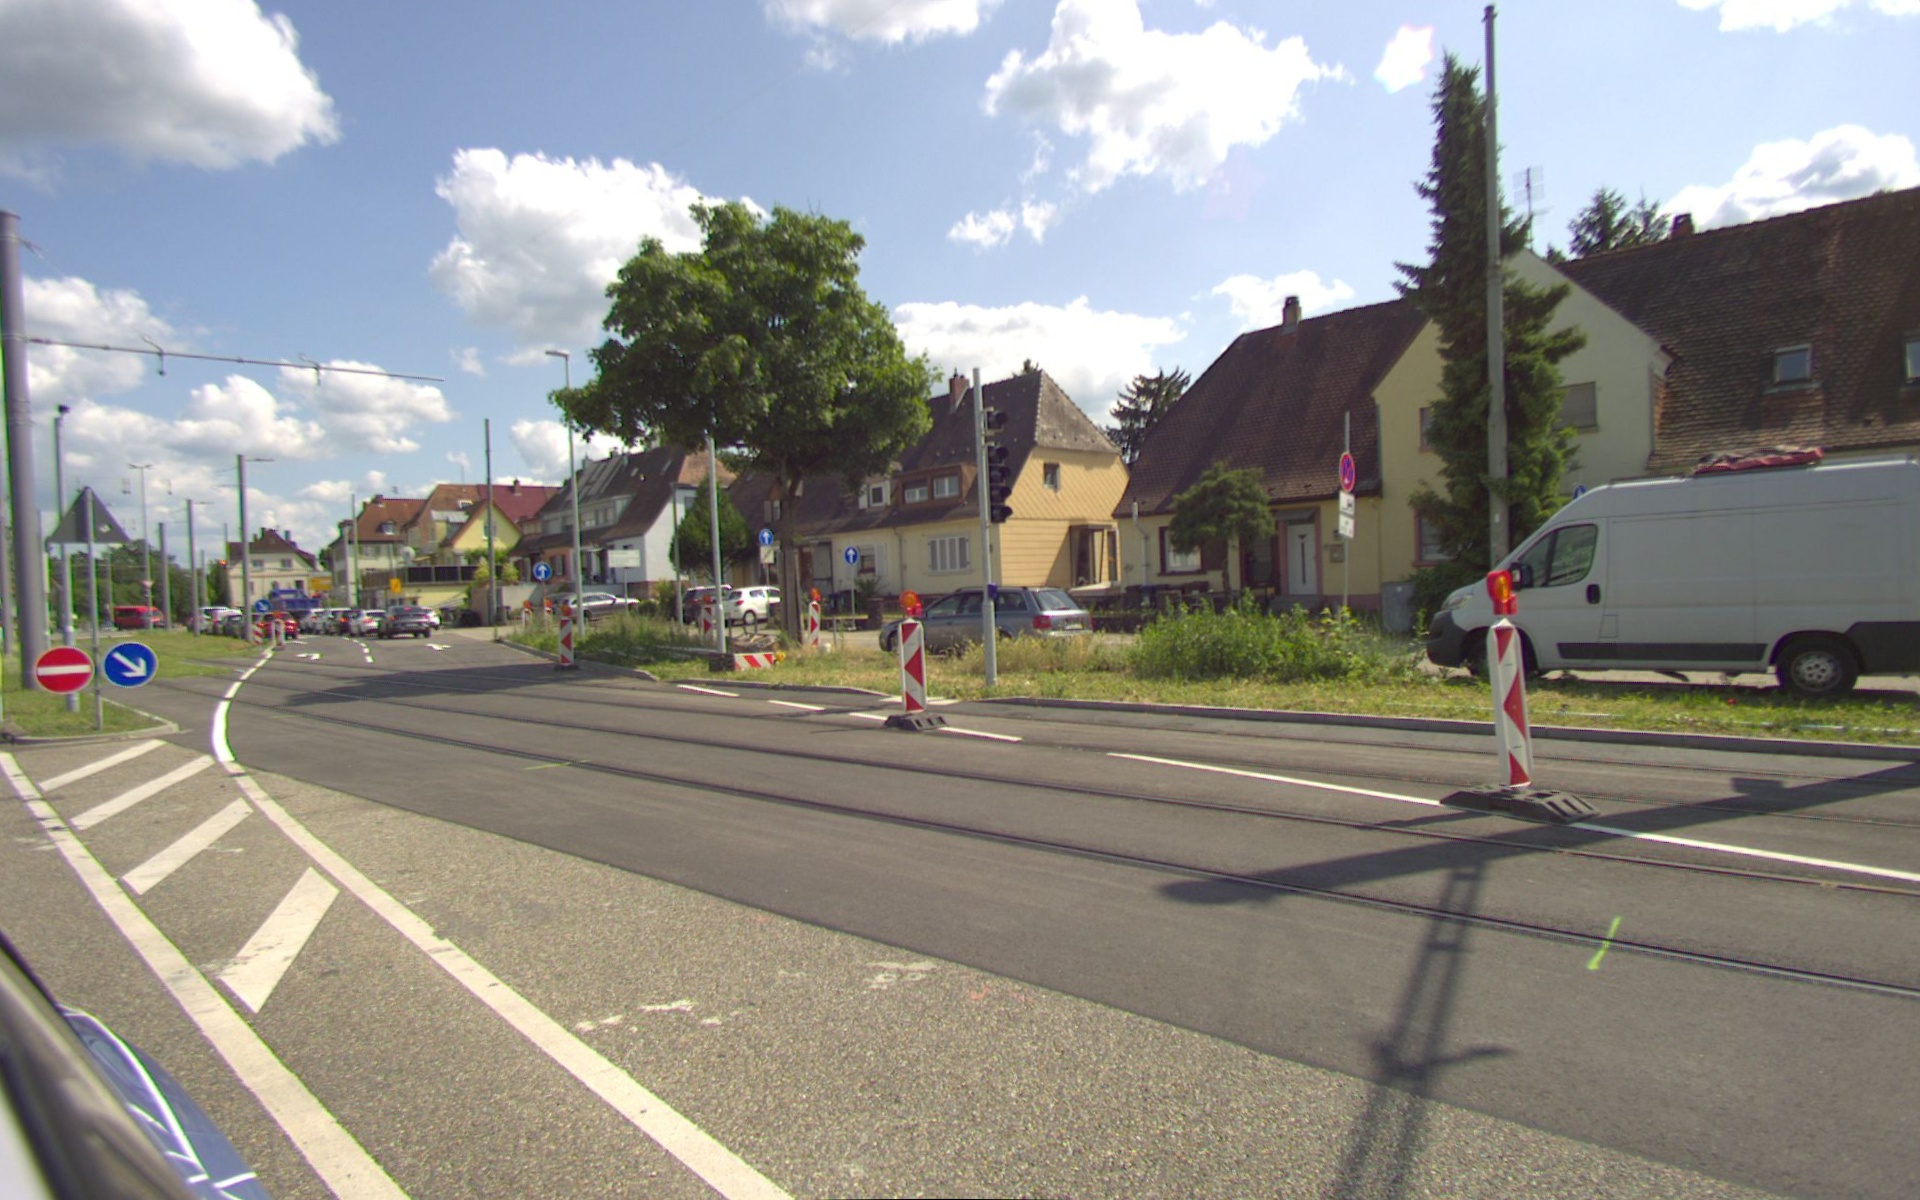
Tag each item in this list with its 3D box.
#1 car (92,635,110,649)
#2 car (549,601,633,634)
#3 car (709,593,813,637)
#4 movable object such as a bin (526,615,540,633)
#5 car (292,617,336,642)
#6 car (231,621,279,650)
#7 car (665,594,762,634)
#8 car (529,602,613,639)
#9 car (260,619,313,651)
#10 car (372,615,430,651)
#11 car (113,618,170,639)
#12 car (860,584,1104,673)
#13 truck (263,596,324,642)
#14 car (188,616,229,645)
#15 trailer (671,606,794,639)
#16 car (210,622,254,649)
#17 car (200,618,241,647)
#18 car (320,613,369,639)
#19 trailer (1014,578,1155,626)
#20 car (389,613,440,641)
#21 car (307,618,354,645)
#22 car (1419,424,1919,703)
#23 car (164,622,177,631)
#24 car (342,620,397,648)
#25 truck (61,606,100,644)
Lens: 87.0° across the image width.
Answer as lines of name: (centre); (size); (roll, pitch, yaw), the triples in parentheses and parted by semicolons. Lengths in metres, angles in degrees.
car: (-138.633, 6.777, 163.376); (2.029, 2.023, 4.958); (-2, 1, -39)
car: (-19.766, 0.932, 54.317); (1.682, 1.566, 3.835); (-2, 1, 43)
car: (-8.088, 0.592, 41.435); (1.759, 1.556, 3.912); (-2, 1, 39)
movable object such as a bin: (-24.182, 1.360, 57.355); (0.510, 0.959, 0.583); (-3, 1, -44)
car: (-44.238, 2.043, 69.268); (1.705, 1.574, 4.546); (-3, 1, -43)
car: (-41.666, 2.079, 59.802); (1.705, 1.574, 4.650); (-3, 1, -42)
car: (-11.043, 0.621, 45.466); (3.837, 1.556, 1.708); (-3, 1, -42)
car: (-21.718, 1.124, 56.545); (1.803, 1.859, 3.943); (-2, 1, 43)
car: (-36.583, 1.903, 54.943); (1.705, 1.574, 4.547); (-3, 1, -42)
car: (-26.788, 1.562, 48.407); (1.703, 1.538, 4.780); (-3, 1, -37)
car: (-84.566, 2.948, 104.582); (4.946, 1.886, 2.272); (-2, 1, 19)
car: (0.304, 0.532, 19.491); (4.755, 1.475, 1.674); (-2, 1, 43)
truck: (-49.838, 1.442, 75.611); (2.801, 3.177, 7.946); (-3, 1, -40)
car: (-56.152, 2.265, 75.586); (1.895, 1.979, 4.546); (-3, 1, -43)
trailer: (-9.683, 0.944, 43.400); (1.961, 1.133, 4.867); (-2, 1, 43)
car: (-46.781, 2.239, 64.979); (1.705, 1.574, 4.546); (-3, 1, -43)
car: (-51.228, 2.253, 70.117); (1.705, 1.868, 4.546); (-3, 1, -43)
car: (-35.990, 1.511, 59.109); (1.704, 1.344, 4.549); (-3, 1, -40)
trailer: (4.380, 0.032, 34.971); (5.195, 1.404, 2.025); (-3, 1, -44)
car: (-33.672, 1.659, 62.384); (1.705, 1.574, 4.547); (-3, 1, -42)
car: (-40.155, 1.988, 64.525); (1.705, 1.574, 4.547); (-3, 1, -42)
car: (8.378, -0.337, 11.966); (4.913, 2.688, 2.131); (-2, 1, 41)
car: (-146.616, 4.958, 187.853); (1.696, 1.603, 4.179); (-3, 1, -40)
car: (-31.362, 1.773, 53.715); (1.704, 1.344, 4.549); (-3, 1, -40)
truck: (-129.312, 3.697, 148.871); (3.424, 5.222, 14.245); (-3, 1, -38)
